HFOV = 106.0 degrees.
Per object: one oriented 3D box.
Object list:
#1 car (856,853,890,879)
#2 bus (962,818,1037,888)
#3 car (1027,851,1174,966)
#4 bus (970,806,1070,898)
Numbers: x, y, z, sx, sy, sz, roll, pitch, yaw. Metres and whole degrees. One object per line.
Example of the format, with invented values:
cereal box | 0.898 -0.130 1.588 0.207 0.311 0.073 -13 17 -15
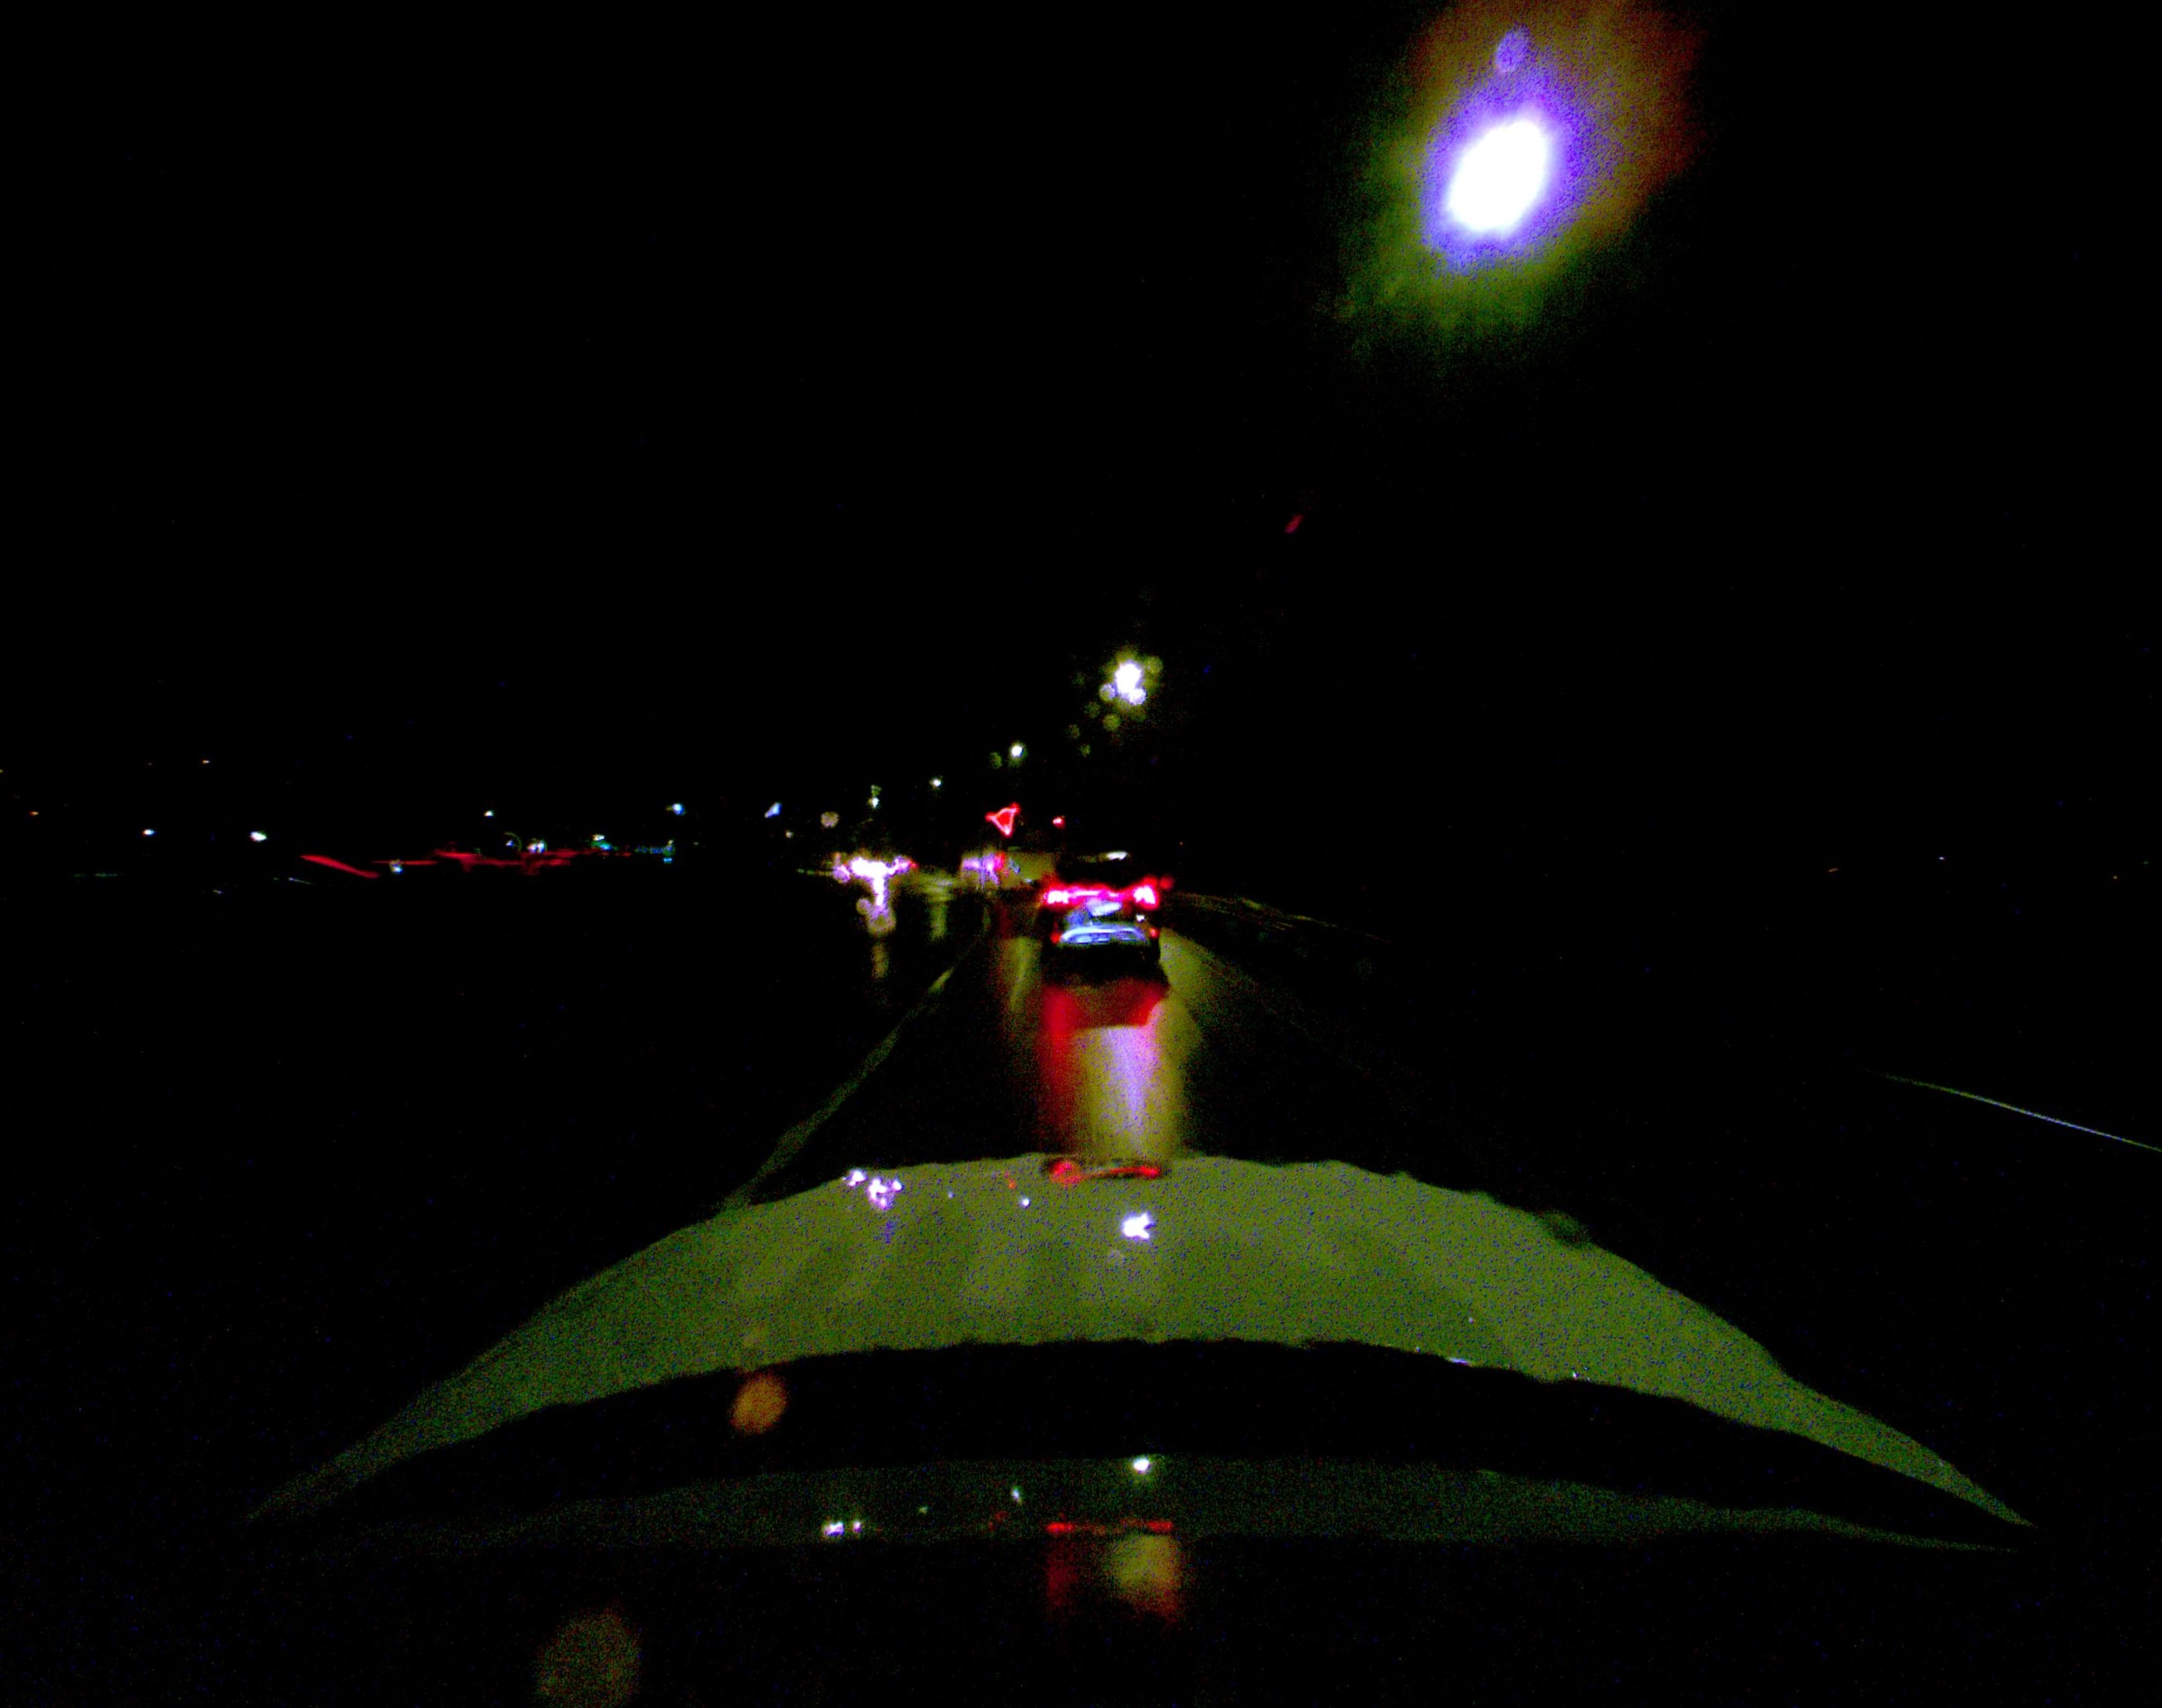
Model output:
car | -17.415 0.949 67.936 2.456 1.988 5.461 -1 0 -17
bus | -4.473 -0.050 42.652 3.045 3.212 9.016 -2 0 -11
car | 0.222 0.736 13.065 1.988 1.524 3.998 -1 0 -1
bus | -2.774 -0.079 33.781 3.045 3.212 9.016 -2 0 -11
